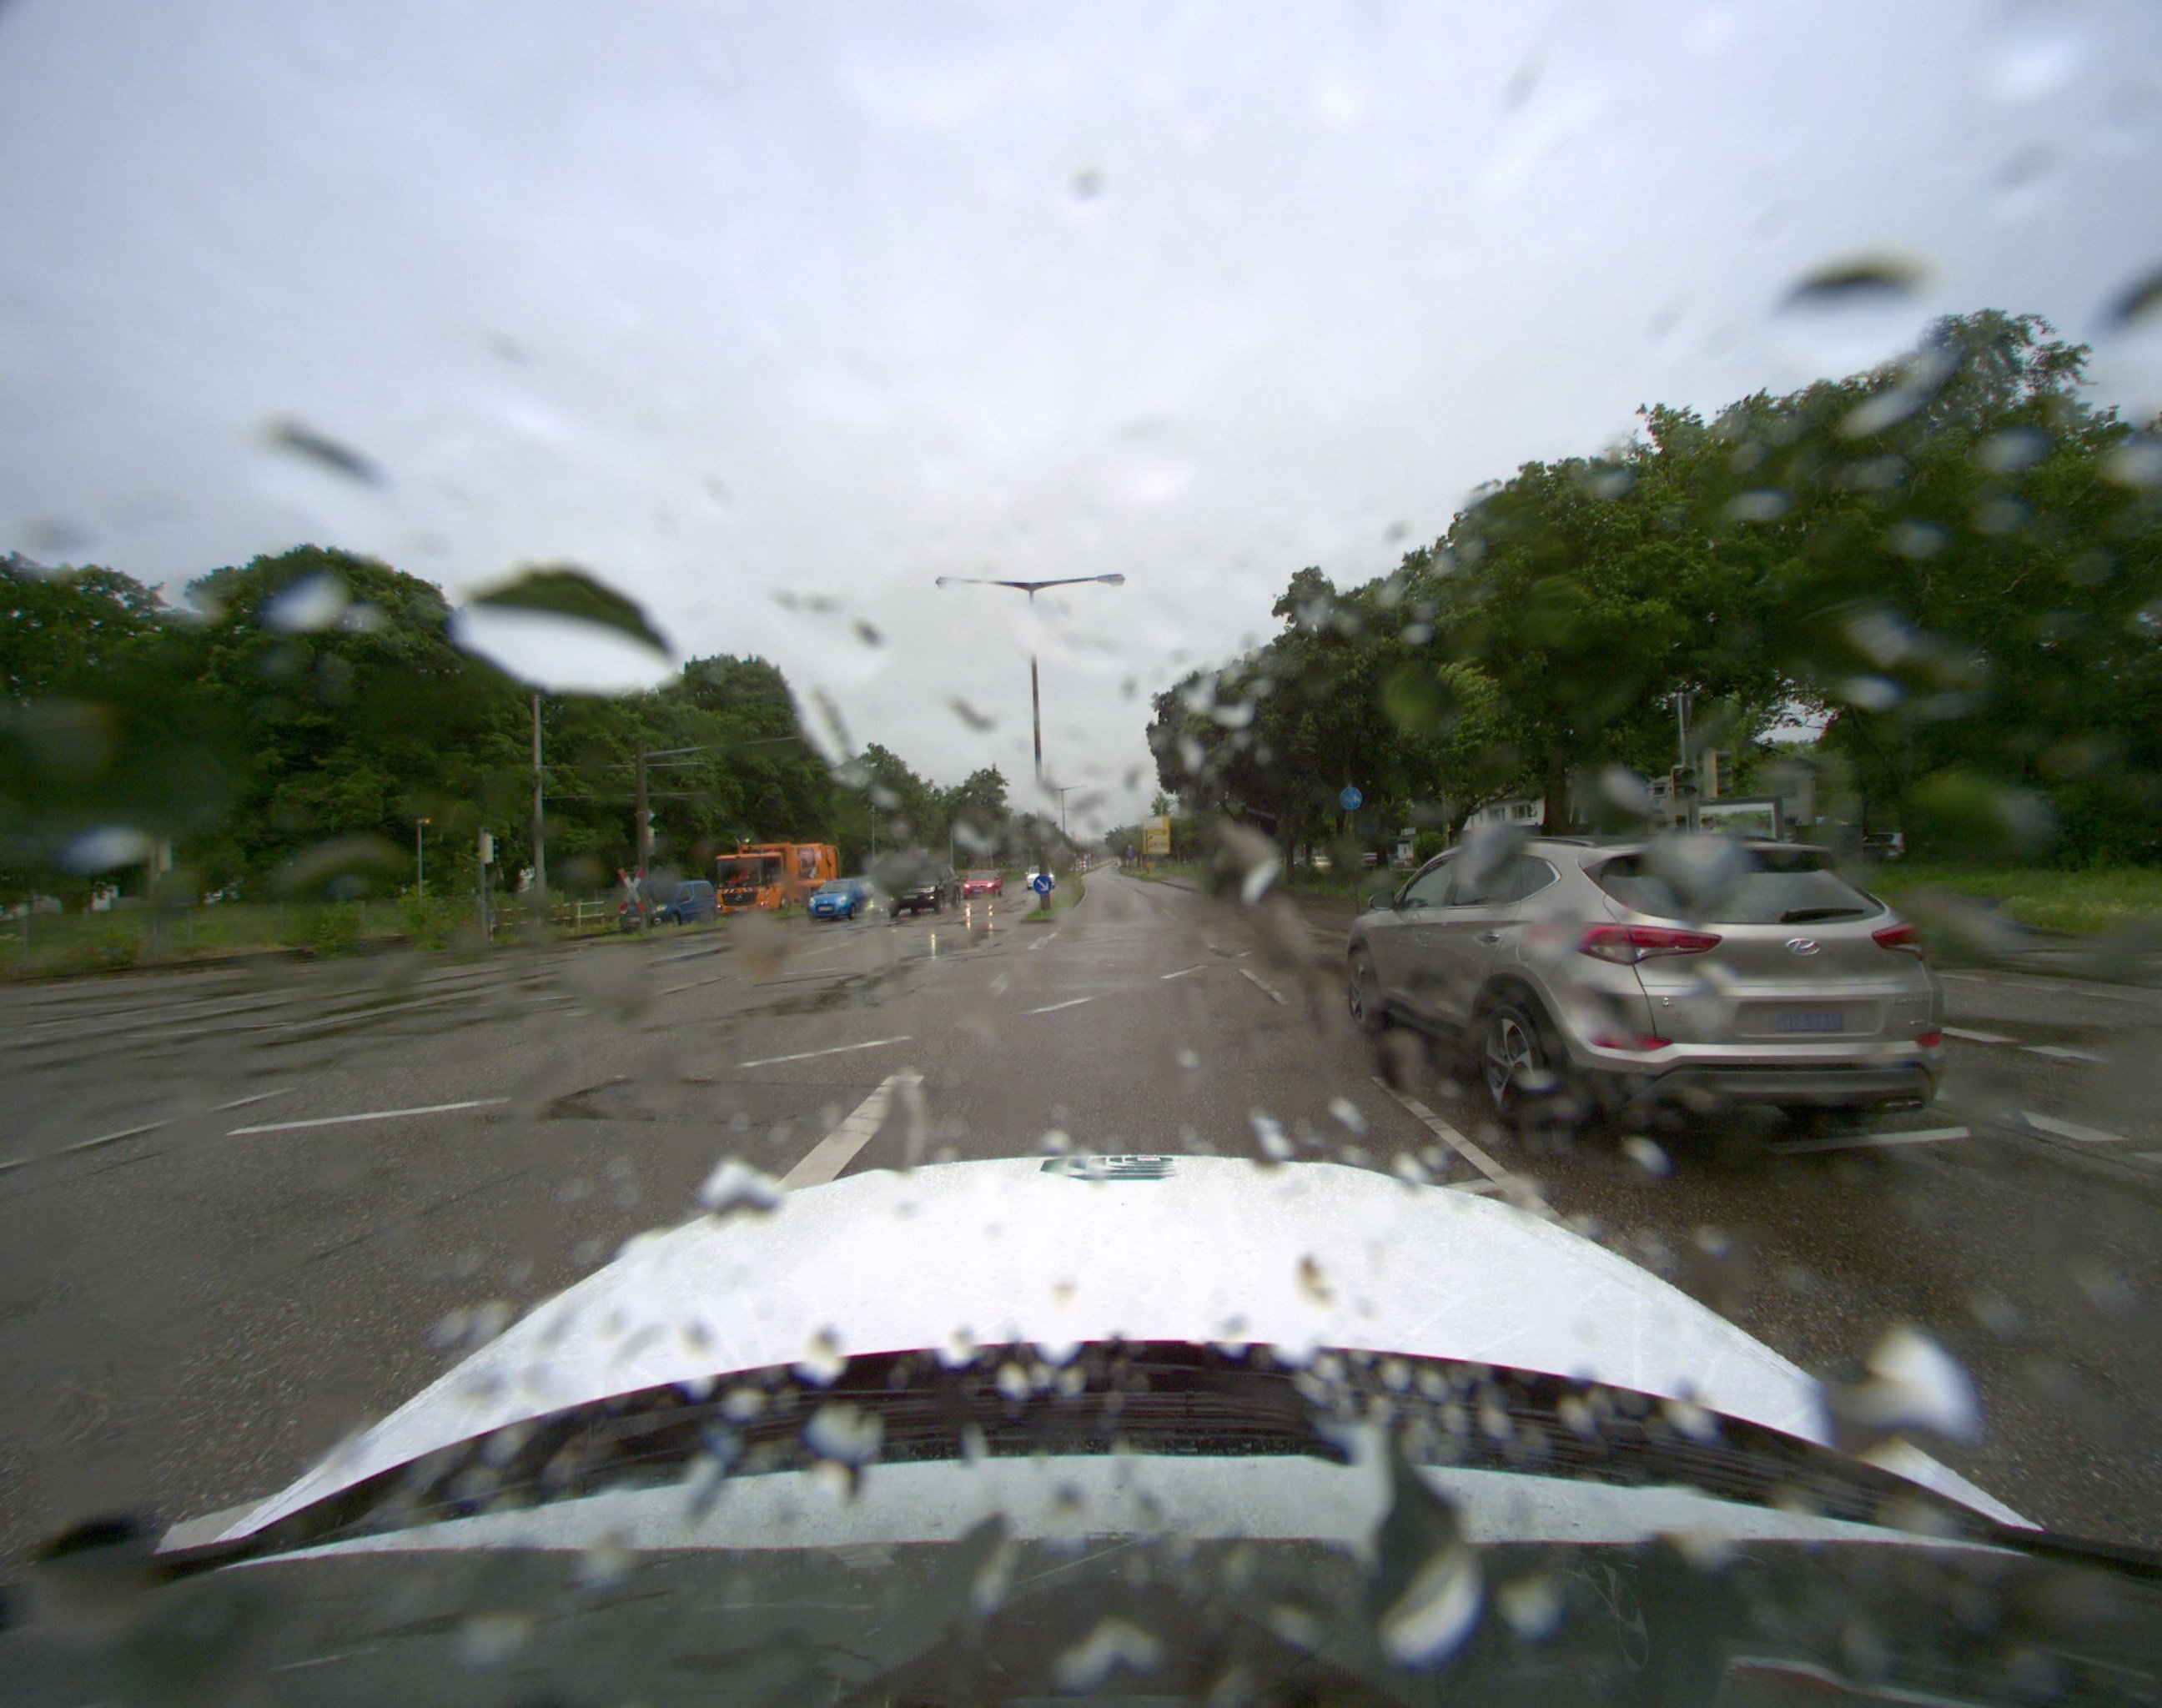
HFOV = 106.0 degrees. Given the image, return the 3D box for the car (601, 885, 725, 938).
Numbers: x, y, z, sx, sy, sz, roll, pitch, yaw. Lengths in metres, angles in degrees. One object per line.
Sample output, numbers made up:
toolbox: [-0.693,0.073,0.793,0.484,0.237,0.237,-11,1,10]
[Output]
car: [-15.089,2.016,29.715,1.985,1.709,4.530,0,-1,3]

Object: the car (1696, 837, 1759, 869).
car: [31.068,-0.011,39.090,3.771,1.449,1.650,1,-2,-41]

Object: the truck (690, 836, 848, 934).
truck: [-14.819,1.436,39.990,3.372,4.168,10.410,0,-1,2]

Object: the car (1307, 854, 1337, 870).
car: [22.925,0.810,77.668,1.632,1.486,4.072,0,-1,0]

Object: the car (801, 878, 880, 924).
car: [-8.861,1.693,30.347,1.636,1.427,3.999,-4,-1,0]

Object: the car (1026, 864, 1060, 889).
car: [-2.656,1.550,57.620,1.954,1.617,4.699,-3,-1,2]

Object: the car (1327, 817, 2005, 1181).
car: [3.230,0.673,5.737,1.877,1.610,4.197,0,-1,2]

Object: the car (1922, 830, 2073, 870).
car: [34.485,-0.139,30.731,3.694,1.449,1.671,0,-1,3]

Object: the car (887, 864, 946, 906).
car: [-8.680,1.564,43.270,1.921,2.018,4.745,-2,-1,2]

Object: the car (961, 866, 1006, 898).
car: [-5.350,1.527,45.111,1.794,1.569,4.429,-4,-2,1]

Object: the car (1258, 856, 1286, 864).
car: [33.749,1.010,144.007,4.389,1.334,1.835,0,-1,-4]

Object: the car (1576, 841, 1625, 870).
car: [27.457,0.088,42.979,1.648,1.449,3.775,-1,-2,40]

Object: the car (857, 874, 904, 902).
car: [-13.642,2.275,55.647,1.987,1.828,4.771,0,-1,0]

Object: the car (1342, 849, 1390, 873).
car: [22.411,0.560,64.212,1.987,1.717,4.877,-3,-1,0]

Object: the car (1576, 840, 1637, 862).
car: [34.610,-0.186,53.765,1.567,1.316,3.700,-1,-1,-1]

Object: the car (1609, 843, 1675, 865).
car: [37.183,0.051,54.104,1.578,1.385,3.999,0,-1,0]

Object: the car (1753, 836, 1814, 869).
car: [32.561,-0.046,37.733,3.771,1.449,1.584,1,-2,-41]

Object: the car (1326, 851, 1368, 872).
car: [22.779,0.664,69.840,1.987,1.717,4.640,-3,-1,0]

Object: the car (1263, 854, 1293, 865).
car: [32.691,0.915,135.254,4.560,1.645,1.997,0,-1,-4]

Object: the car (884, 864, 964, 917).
car: [-5.876,1.311,31.089,1.799,1.773,5.091,-3,-1,2]

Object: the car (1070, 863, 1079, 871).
car: [-1.335,2.831,175.005,1.737,1.650,4.137,-4,-1,1]

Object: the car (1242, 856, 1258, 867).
car: [25.045,1.097,121.052,1.737,1.445,4.127,-3,1,4]

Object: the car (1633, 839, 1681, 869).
car: [29.345,0.047,41.437,1.648,1.449,3.775,-1,-2,40]

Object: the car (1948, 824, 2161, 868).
car: [34.352,-0.249,28.543,5.375,1.449,2.170,0,-1,4]
